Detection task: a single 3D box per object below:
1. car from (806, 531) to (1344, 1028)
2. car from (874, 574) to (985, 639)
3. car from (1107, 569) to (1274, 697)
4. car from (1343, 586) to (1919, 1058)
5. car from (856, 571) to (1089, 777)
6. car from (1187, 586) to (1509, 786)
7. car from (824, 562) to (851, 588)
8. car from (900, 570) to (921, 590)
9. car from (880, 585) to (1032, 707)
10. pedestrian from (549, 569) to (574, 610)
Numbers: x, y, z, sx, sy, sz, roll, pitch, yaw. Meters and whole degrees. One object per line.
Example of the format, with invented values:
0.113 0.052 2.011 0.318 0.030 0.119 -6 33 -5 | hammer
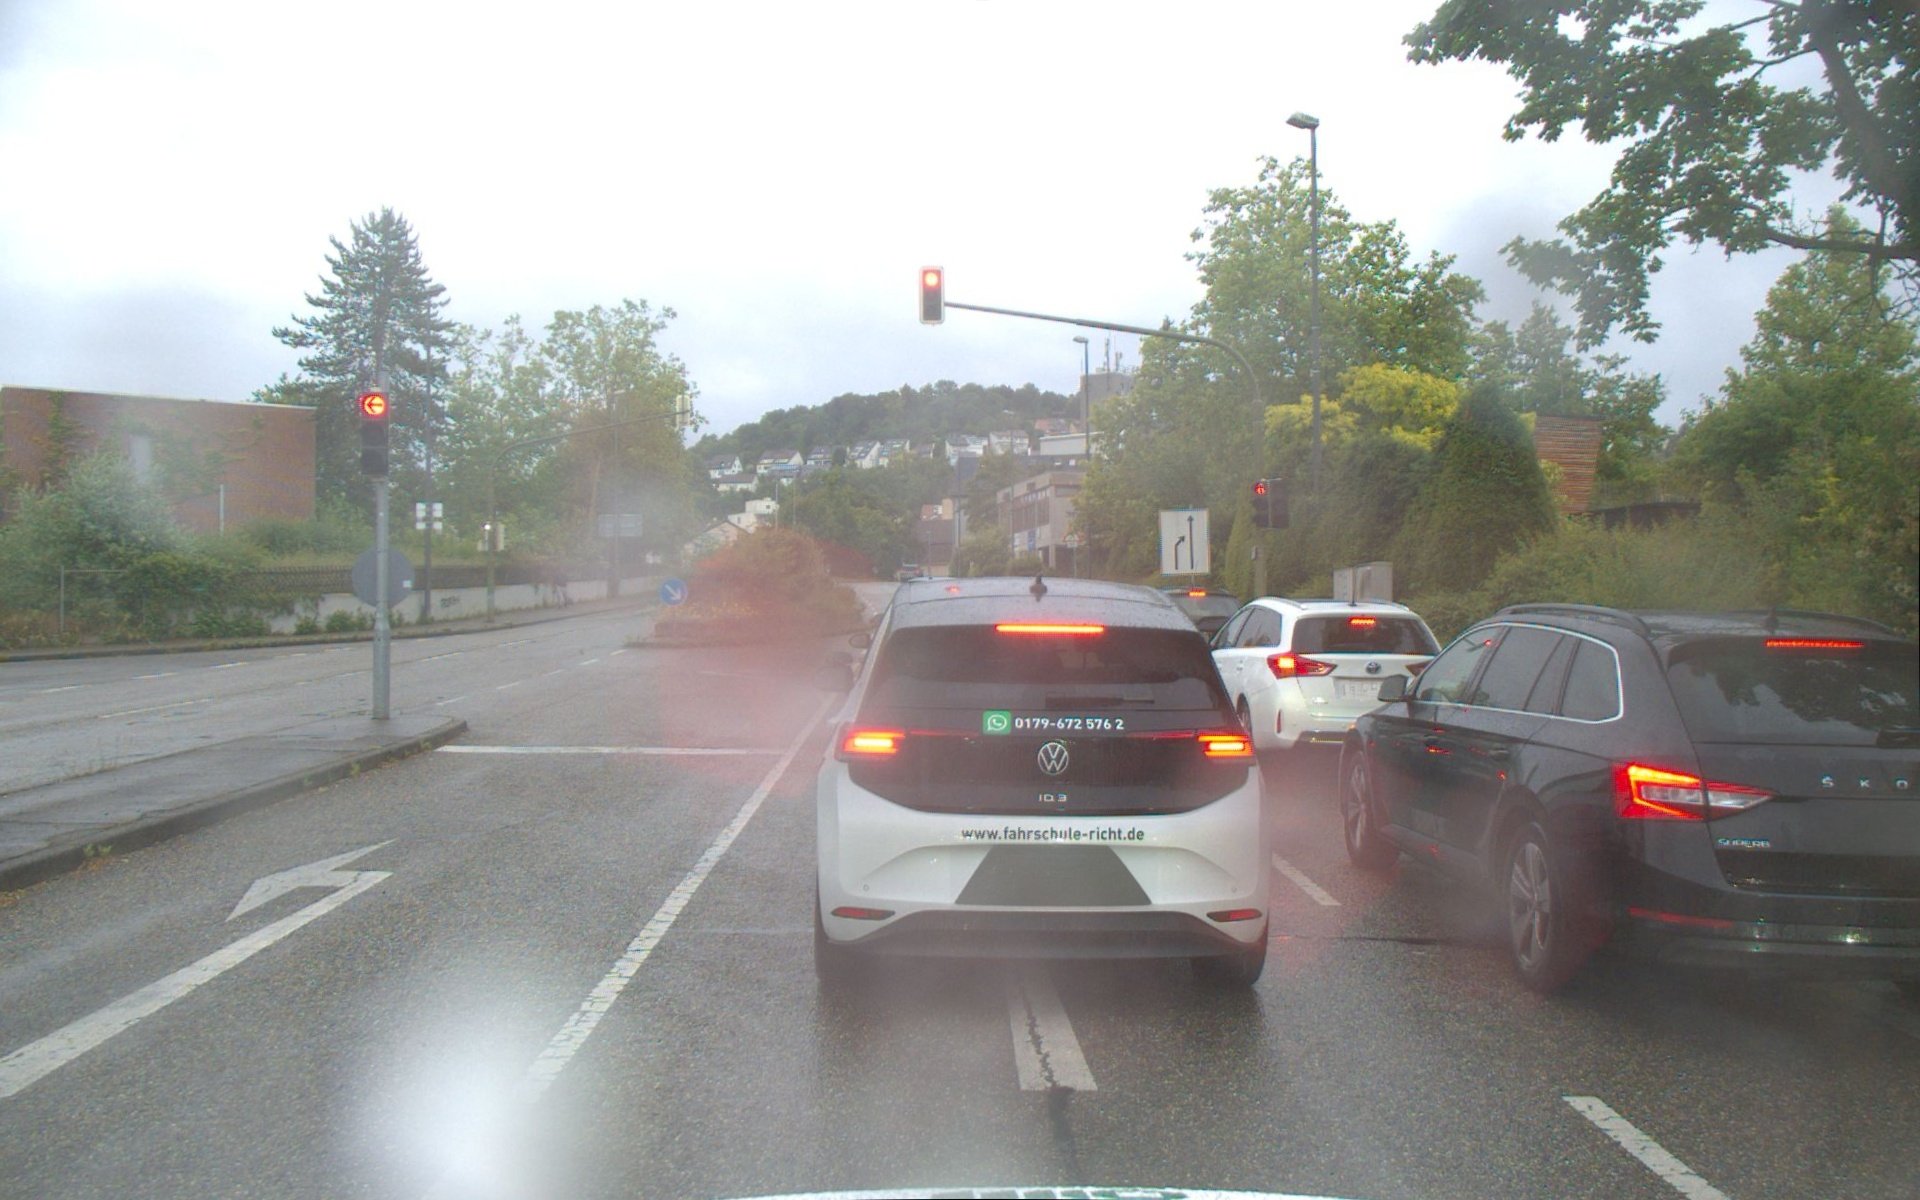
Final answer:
0.343 0.594 7.952 1.800 1.657 4.614 1 1 -1 | car
-0.671 0.123 39.699 1.723 1.443 3.752 -1 1 14 | car
3.160 0.431 23.412 1.739 1.609 3.999 1 0 -1 | car
3.133 0.707 7.492 1.800 1.492 4.350 1 1 1 | car
0.051 0.564 15.132 1.800 1.582 4.174 1 1 -1 | car
3.286 0.650 14.841 1.800 1.492 4.116 1 1 -1 | car
-10.385 -2.088 140.198 1.953 2.049 3.999 1 -1 -1 | car
-4.316 -1.730 145.520 1.739 1.609 3.999 -2 0 -1 | car
-0.096 0.541 21.904 1.800 1.424 3.830 1 1 -1 | car
-15.797 -0.429 65.647 0.744 1.595 0.825 -2 0 -2 | pedestrian
